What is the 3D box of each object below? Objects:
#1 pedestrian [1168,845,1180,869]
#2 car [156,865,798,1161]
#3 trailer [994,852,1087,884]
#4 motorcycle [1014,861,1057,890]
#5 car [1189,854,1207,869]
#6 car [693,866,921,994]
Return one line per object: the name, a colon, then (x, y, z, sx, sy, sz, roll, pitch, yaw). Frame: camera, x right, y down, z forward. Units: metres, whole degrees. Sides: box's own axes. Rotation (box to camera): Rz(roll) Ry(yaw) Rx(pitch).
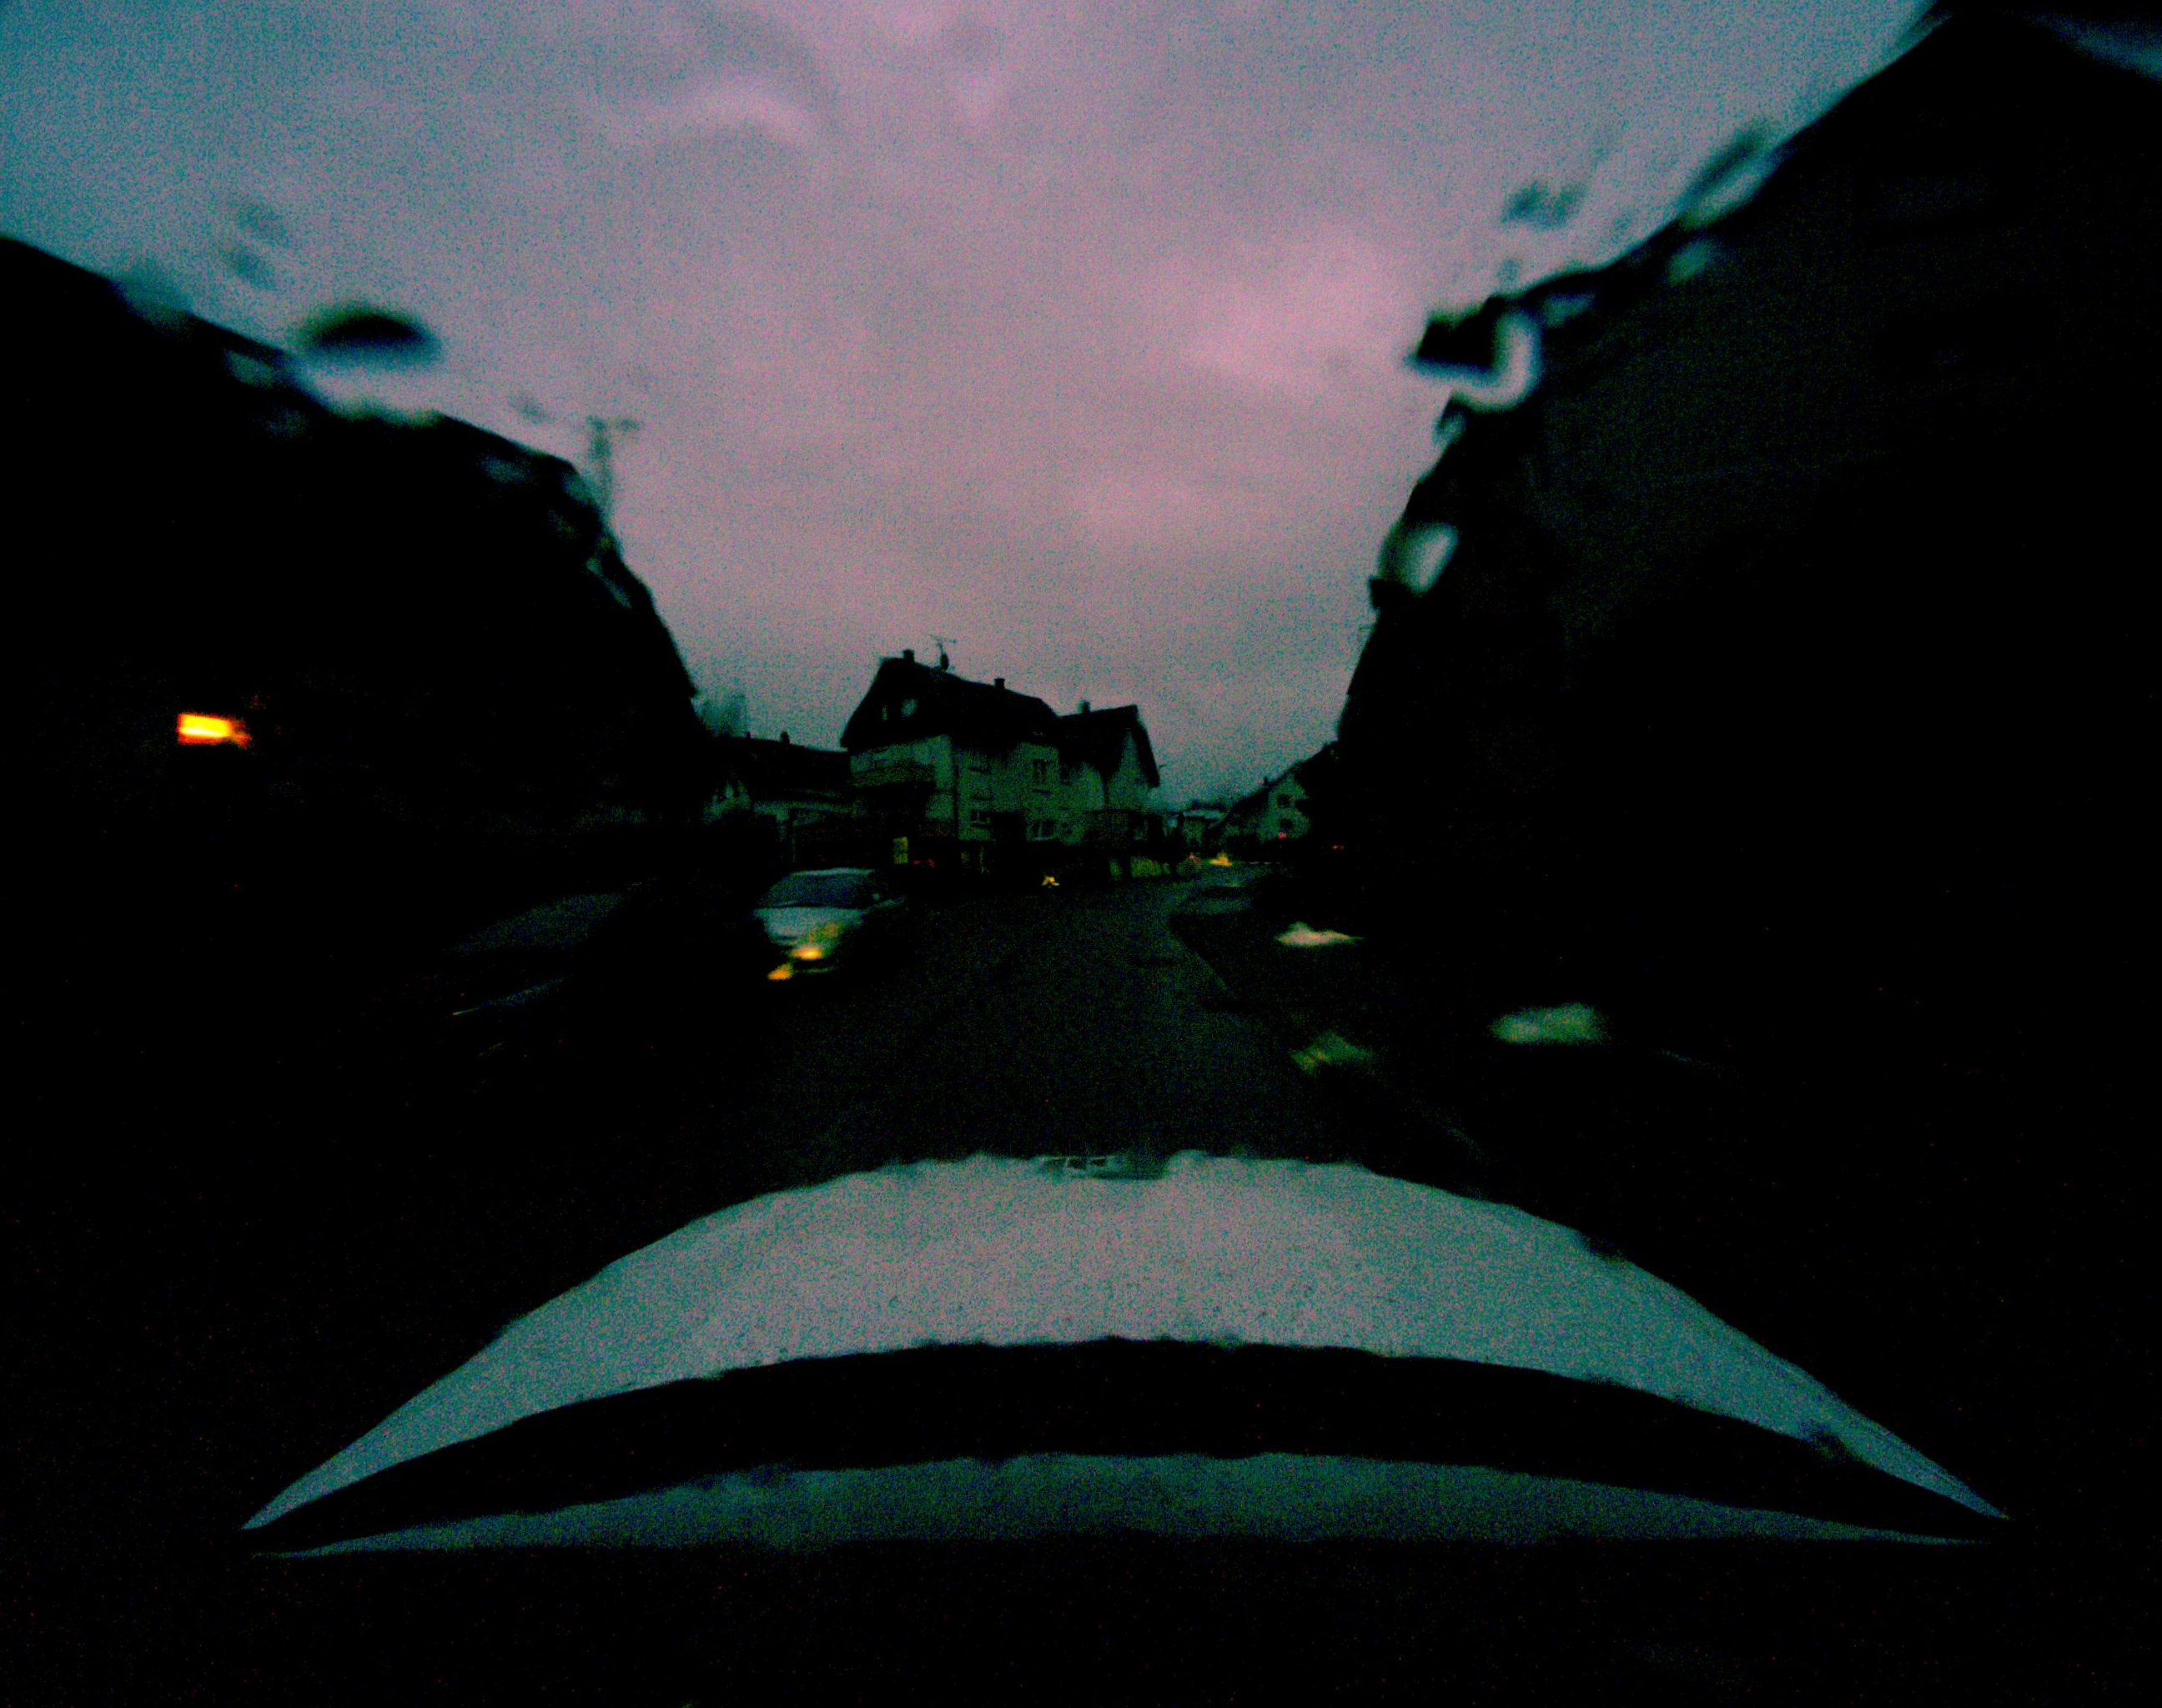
pedestrian: (6.683, 0.220, 58.414, 0.593, 1.733, 0.816, -2, -1, 21)
car: (-3.864, 0.859, 6.284, 1.817, 1.440, 4.068, -1, 0, 1)
trailer: (-1.999, 0.759, 41.799, 2.038, 1.169, 4.897, -4, -8, 37)
motorcycle: (-2.190, 1.026, 39.242, 1.061, 1.298, 2.215, -1, 0, -34)
car: (18.115, 1.160, 125.930, 2.095, 2.027, 5.002, -4, 0, 14)
car: (-3.620, 0.920, 11.632, 1.742, 1.388, 4.147, -1, 0, 1)
